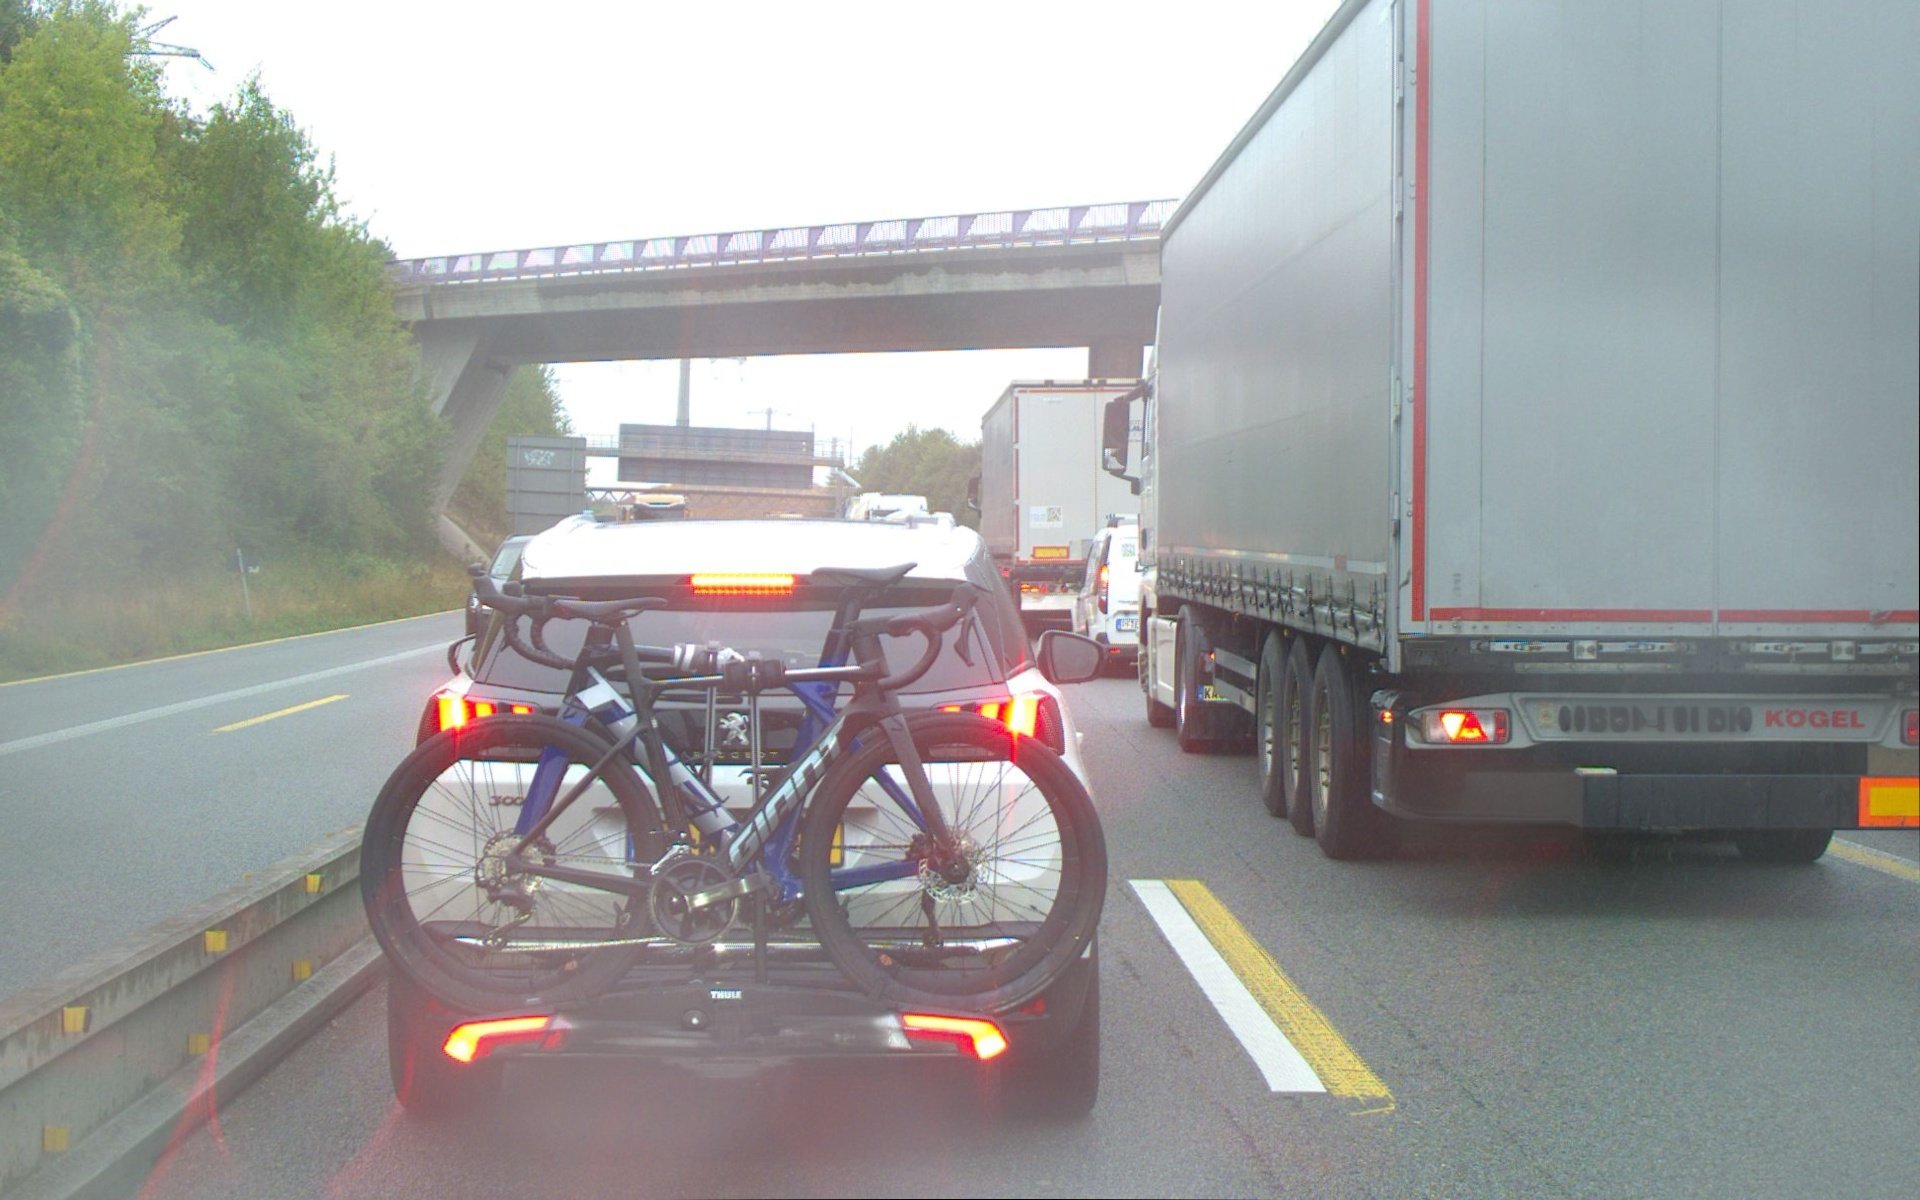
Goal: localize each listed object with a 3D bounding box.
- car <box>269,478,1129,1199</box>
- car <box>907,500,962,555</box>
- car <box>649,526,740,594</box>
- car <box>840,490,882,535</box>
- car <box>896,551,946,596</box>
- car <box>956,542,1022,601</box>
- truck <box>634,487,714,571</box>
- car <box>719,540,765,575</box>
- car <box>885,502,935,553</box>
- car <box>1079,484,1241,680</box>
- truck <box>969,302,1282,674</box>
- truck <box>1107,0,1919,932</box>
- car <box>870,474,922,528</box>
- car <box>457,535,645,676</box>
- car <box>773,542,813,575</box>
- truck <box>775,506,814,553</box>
[{"bbox_3d":[-0.533,0.541,9.605,1.810,1.632,4.635,1,1,1],"label":"car"},{"bbox_3d":[-0.966,-2.689,128.161,1.993,2.007,4.000,1,1,0],"label":"car"},{"bbox_3d":[-6.010,-0.903,78.258,1.810,1.483,4.397,1,1,-1],"label":"car"},{"bbox_3d":[-4.898,-4.325,170.840,1.993,2.119,4.527,1,1,0],"label":"car"},{"bbox_3d":[-1.319,-0.905,116.009,1.638,1.492,3.666,1,1,0],"label":"car"},{"bbox_3d":[0.735,-0.755,89.482,1.638,1.492,3.666,1,1,0],"label":"car"},{"bbox_3d":[-13.067,-3.198,157.811,2.681,3.644,12.312,1,1,0],"label":"truck"},{"bbox_3d":[-9.292,-1.799,146.567,1.779,1.438,4.329,1,1,-2],"label":"car"},{"bbox_3d":[-2.018,-2.937,140.302,1.993,2.007,4.000,1,1,0],"label":"car"},{"bbox_3d":[2.314,-0.225,40.682,1.670,2.173,4.535,1,1,1],"label":"car"},{"bbox_3d":[2.635,-1.828,62.966,4.743,5.654,20.376,1,1,1],"label":"truck"},{"bbox_3d":[3.511,-1.696,23.010,3.979,5.654,20.377,1,1,0],"label":"truck"},{"bbox_3d":[-2.818,-4.402,152.977,2.239,2.299,4.572,1,1,0],"label":"car"},{"bbox_3d":[-4.763,0.042,40.497,1.810,1.554,3.990,1,1,-1],"label":"car"},{"bbox_3d":[-7.339,-1.814,151.297,1.686,1.404,3.930,1,1,-2],"label":"car"},{"bbox_3d":[-12.225,-5.178,254.612,2.535,3.341,12.051,1,1,-1],"label":"truck"}]
